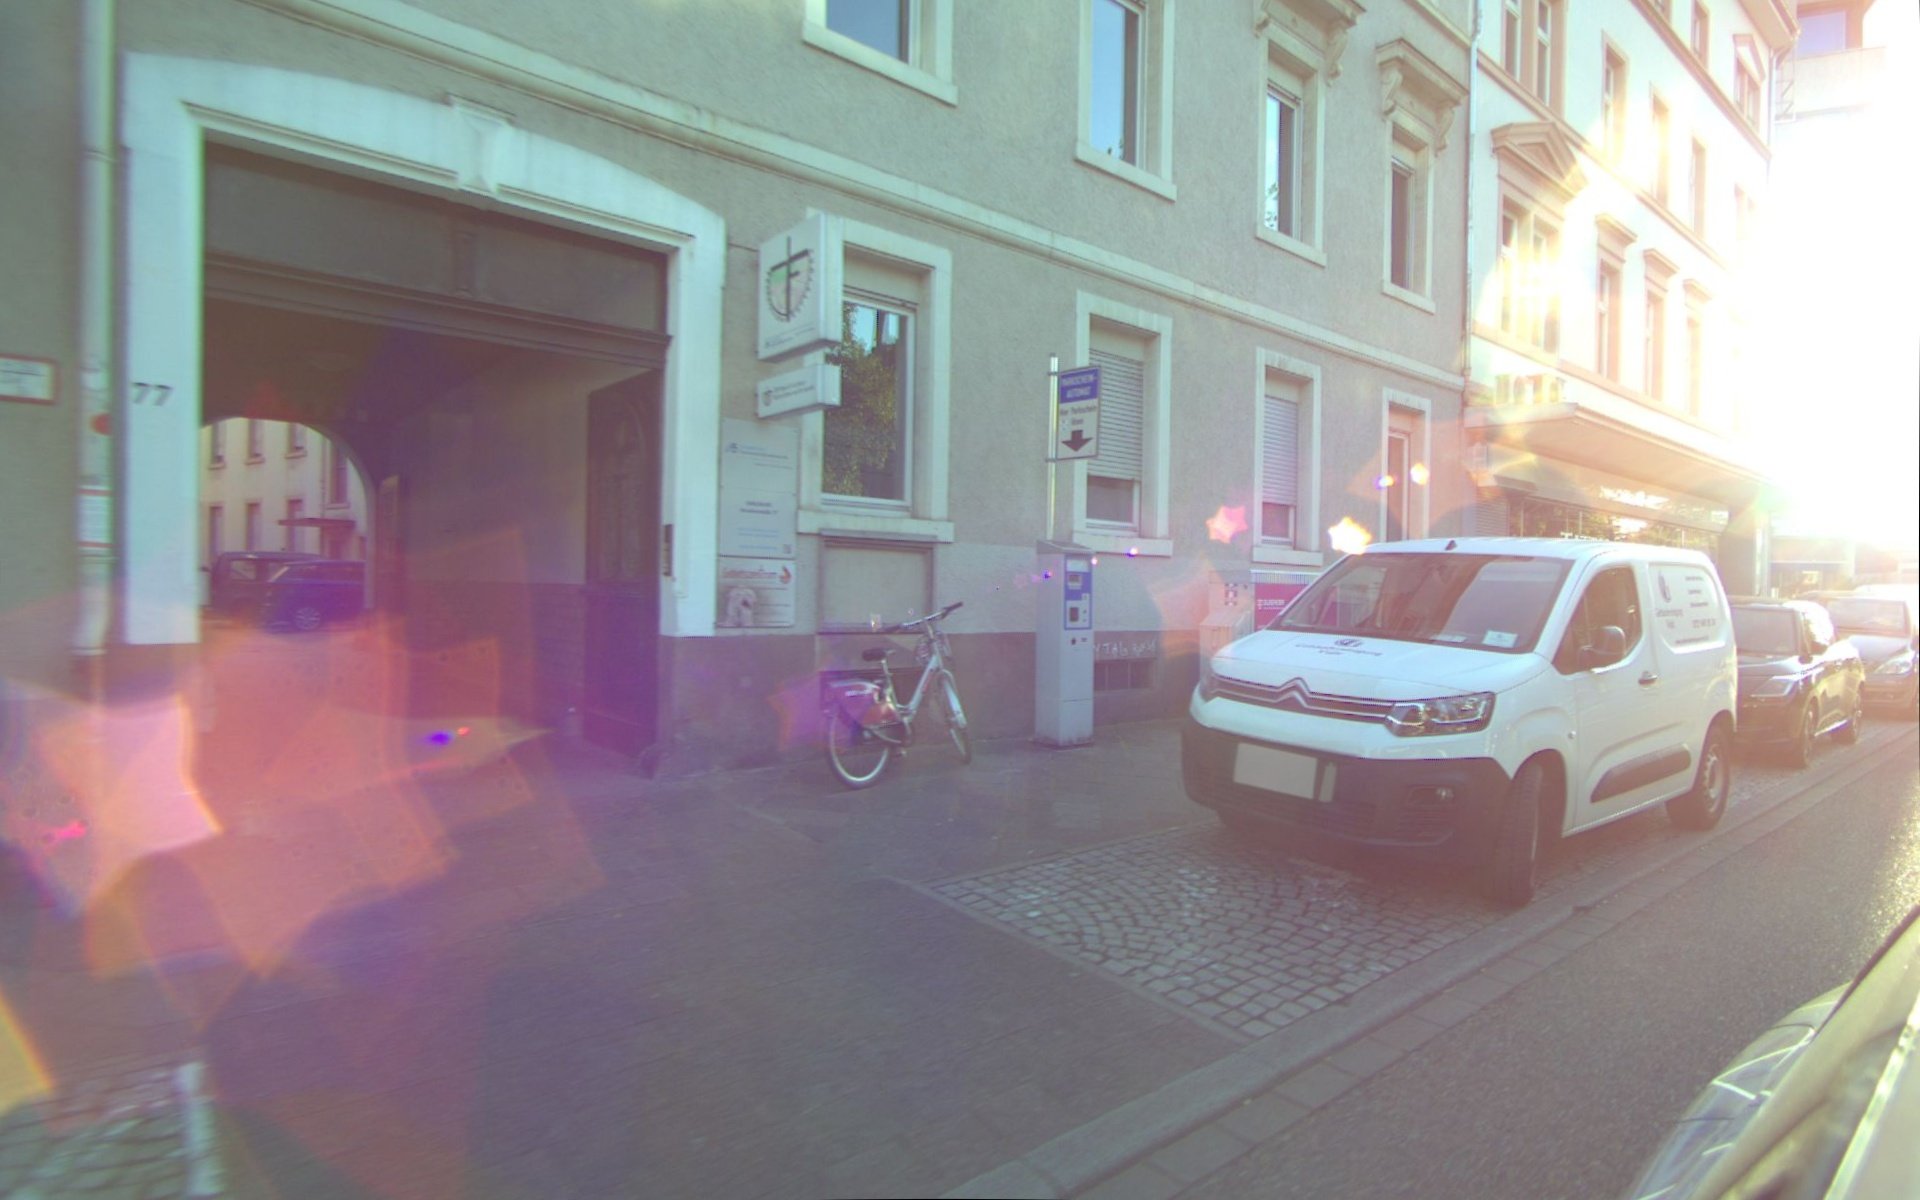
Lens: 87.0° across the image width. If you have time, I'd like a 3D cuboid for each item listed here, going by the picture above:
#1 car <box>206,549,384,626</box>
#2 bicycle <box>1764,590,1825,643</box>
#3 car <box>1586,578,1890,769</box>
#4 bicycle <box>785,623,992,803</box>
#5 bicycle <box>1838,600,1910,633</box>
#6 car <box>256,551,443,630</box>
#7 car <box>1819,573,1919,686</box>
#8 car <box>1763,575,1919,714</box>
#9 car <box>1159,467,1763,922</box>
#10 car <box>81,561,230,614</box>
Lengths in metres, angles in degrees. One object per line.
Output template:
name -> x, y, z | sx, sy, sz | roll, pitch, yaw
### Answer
car -> -16.112, -0.276, 24.645 | 3.498, 1.745, 1.740 | 1, -1, -34
bicycle -> 22.635, 0.419, 27.479 | 0.408, 1.292, 1.662 | 1, 4, 7
car -> 7.889, 0.615, 10.143 | 3.814, 1.564, 1.670 | 1, -1, -41
bicycle -> -0.436, 0.706, 6.979 | 0.453, 1.024, 1.691 | 0, 1, 35
bicycle -> 32.254, 0.578, 35.720 | 1.862, 1.017, 0.457 | 3, 2, 12
car -> -13.970, -0.182, 23.232 | 3.537, 1.692, 1.740 | 1, -1, -34
car -> 16.730, 0.469, 17.825 | 4.019, 1.814, 1.796 | 0, 1, -40
car -> 12.676, 0.548, 14.072 | 4.036, 1.686, 1.659 | 1, -1, -41
car -> 3.245, 0.402, 6.154 | 4.228, 1.858, 1.713 | 1, -1, -39
car -> -22.230, -0.339, 27.993 | 3.098, 1.412, 1.732 | 0, -1, 15
